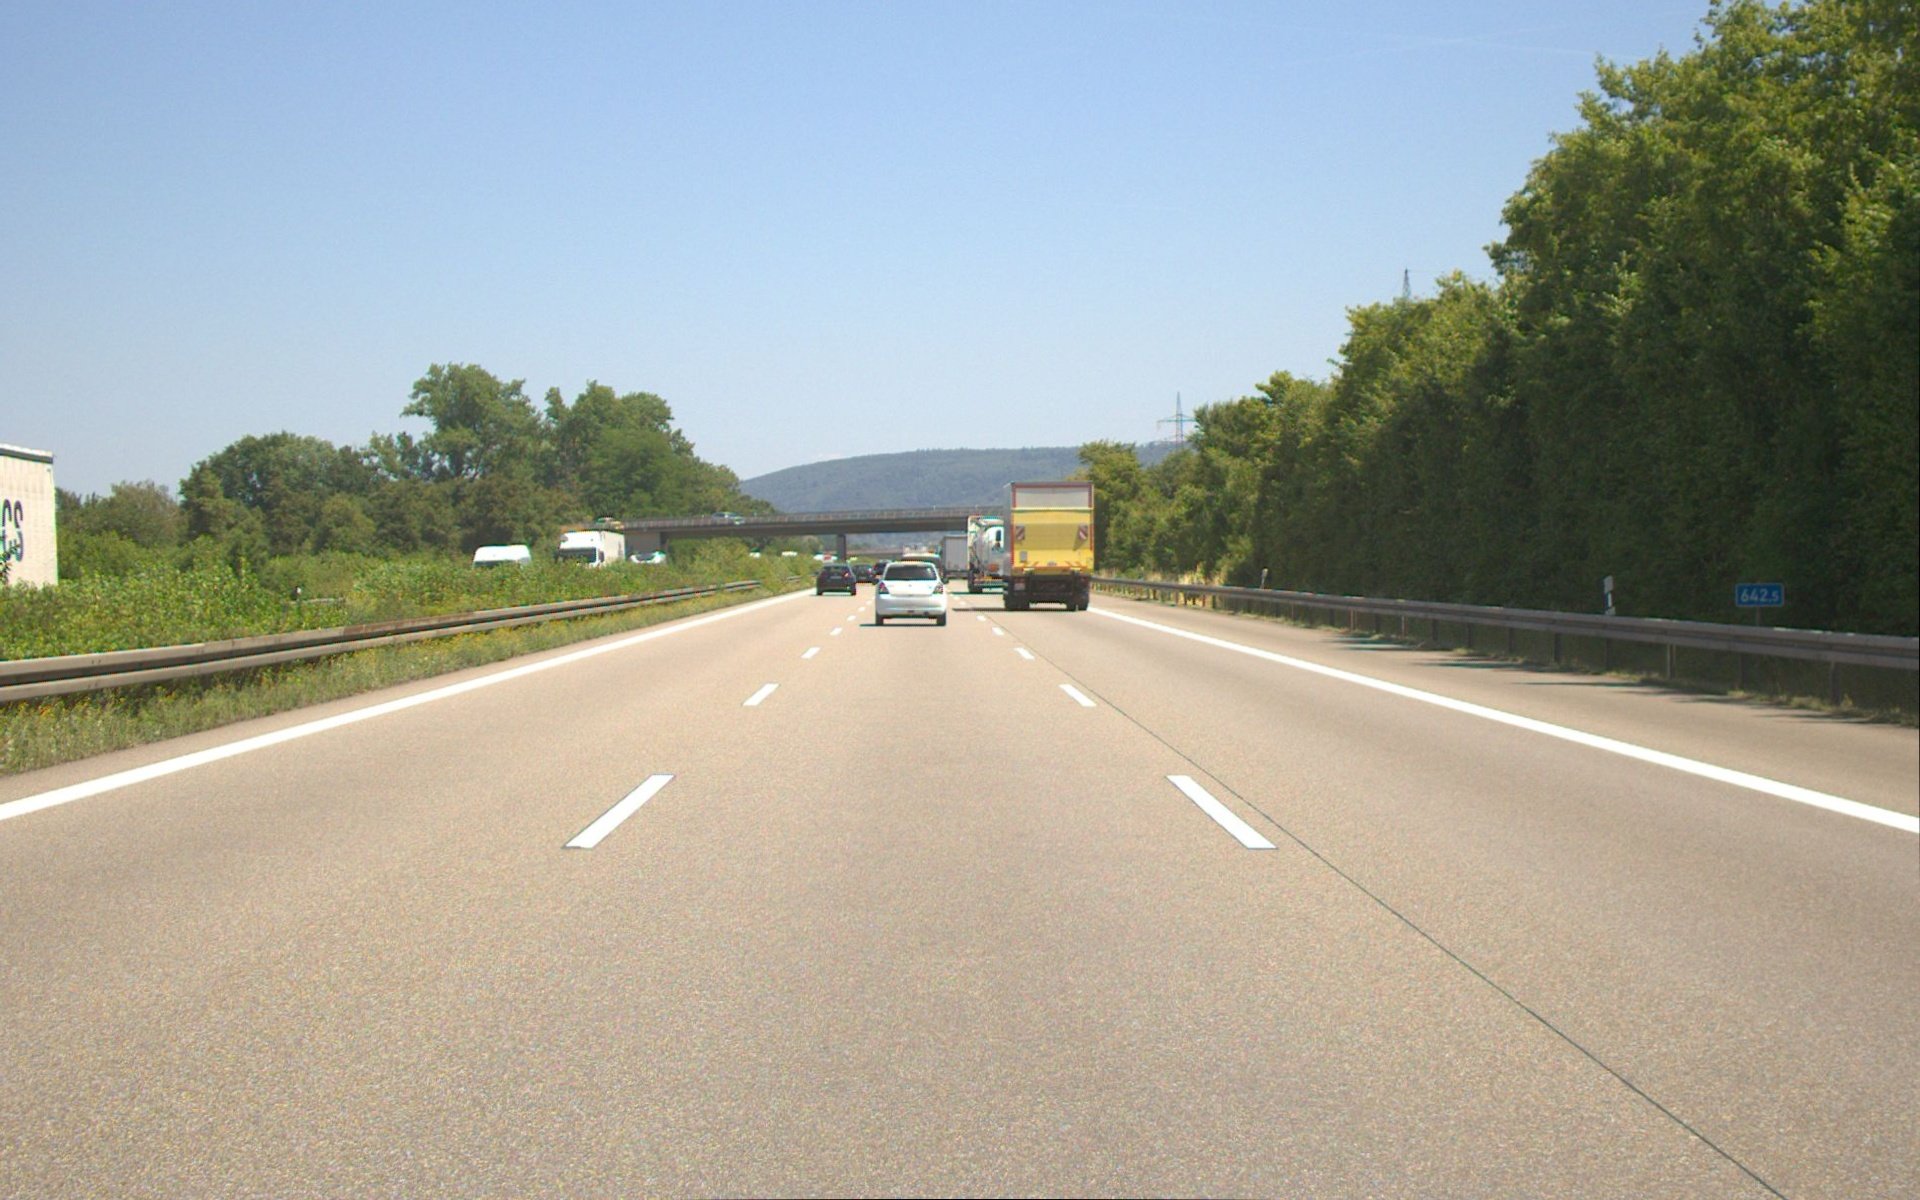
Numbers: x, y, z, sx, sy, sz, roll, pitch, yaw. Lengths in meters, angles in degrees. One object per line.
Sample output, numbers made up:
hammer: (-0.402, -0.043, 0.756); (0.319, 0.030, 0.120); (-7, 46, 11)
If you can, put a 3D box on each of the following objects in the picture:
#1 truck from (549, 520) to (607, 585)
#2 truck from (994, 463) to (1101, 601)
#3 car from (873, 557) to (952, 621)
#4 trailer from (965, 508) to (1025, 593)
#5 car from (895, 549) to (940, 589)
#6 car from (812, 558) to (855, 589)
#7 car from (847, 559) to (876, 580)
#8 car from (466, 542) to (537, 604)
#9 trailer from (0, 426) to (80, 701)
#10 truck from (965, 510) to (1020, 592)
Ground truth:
truck: (-23.325, -2.889, 210.141); (2.933, 3.856, 5.752); (1, 1, -1)
truck: (2.729, -2.130, 110.427); (2.933, 4.185, 10.682); (1, 1, -1)
car: (-1.123, -0.281, 82.065); (1.806, 1.463, 4.000); (1, 1, -1)
trailer: (1.714, -2.447, 170.963); (2.580, 4.060, 11.104); (1, 1, -1)
car: (-1.772, -1.288, 144.572); (1.852, 1.627, 4.000); (1, 1, -1)
car: (-5.742, -1.203, 156.808); (1.835, 1.382, 4.000); (1, 1, -1)
car: (-6.573, -2.028, 230.366); (1.835, 1.382, 4.000); (1, 1, -1)
car: (-18.428, -1.101, 138.460); (2.080, 2.386, 6.733); (1, 1, -1)
trailer: (-17.134, -0.592, 54.567); (2.821, 4.511, 13.867); (1, 1, -1)
truck: (1.622, -2.492, 176.064); (2.573, 4.058, 6.393); (1, 1, -1)
